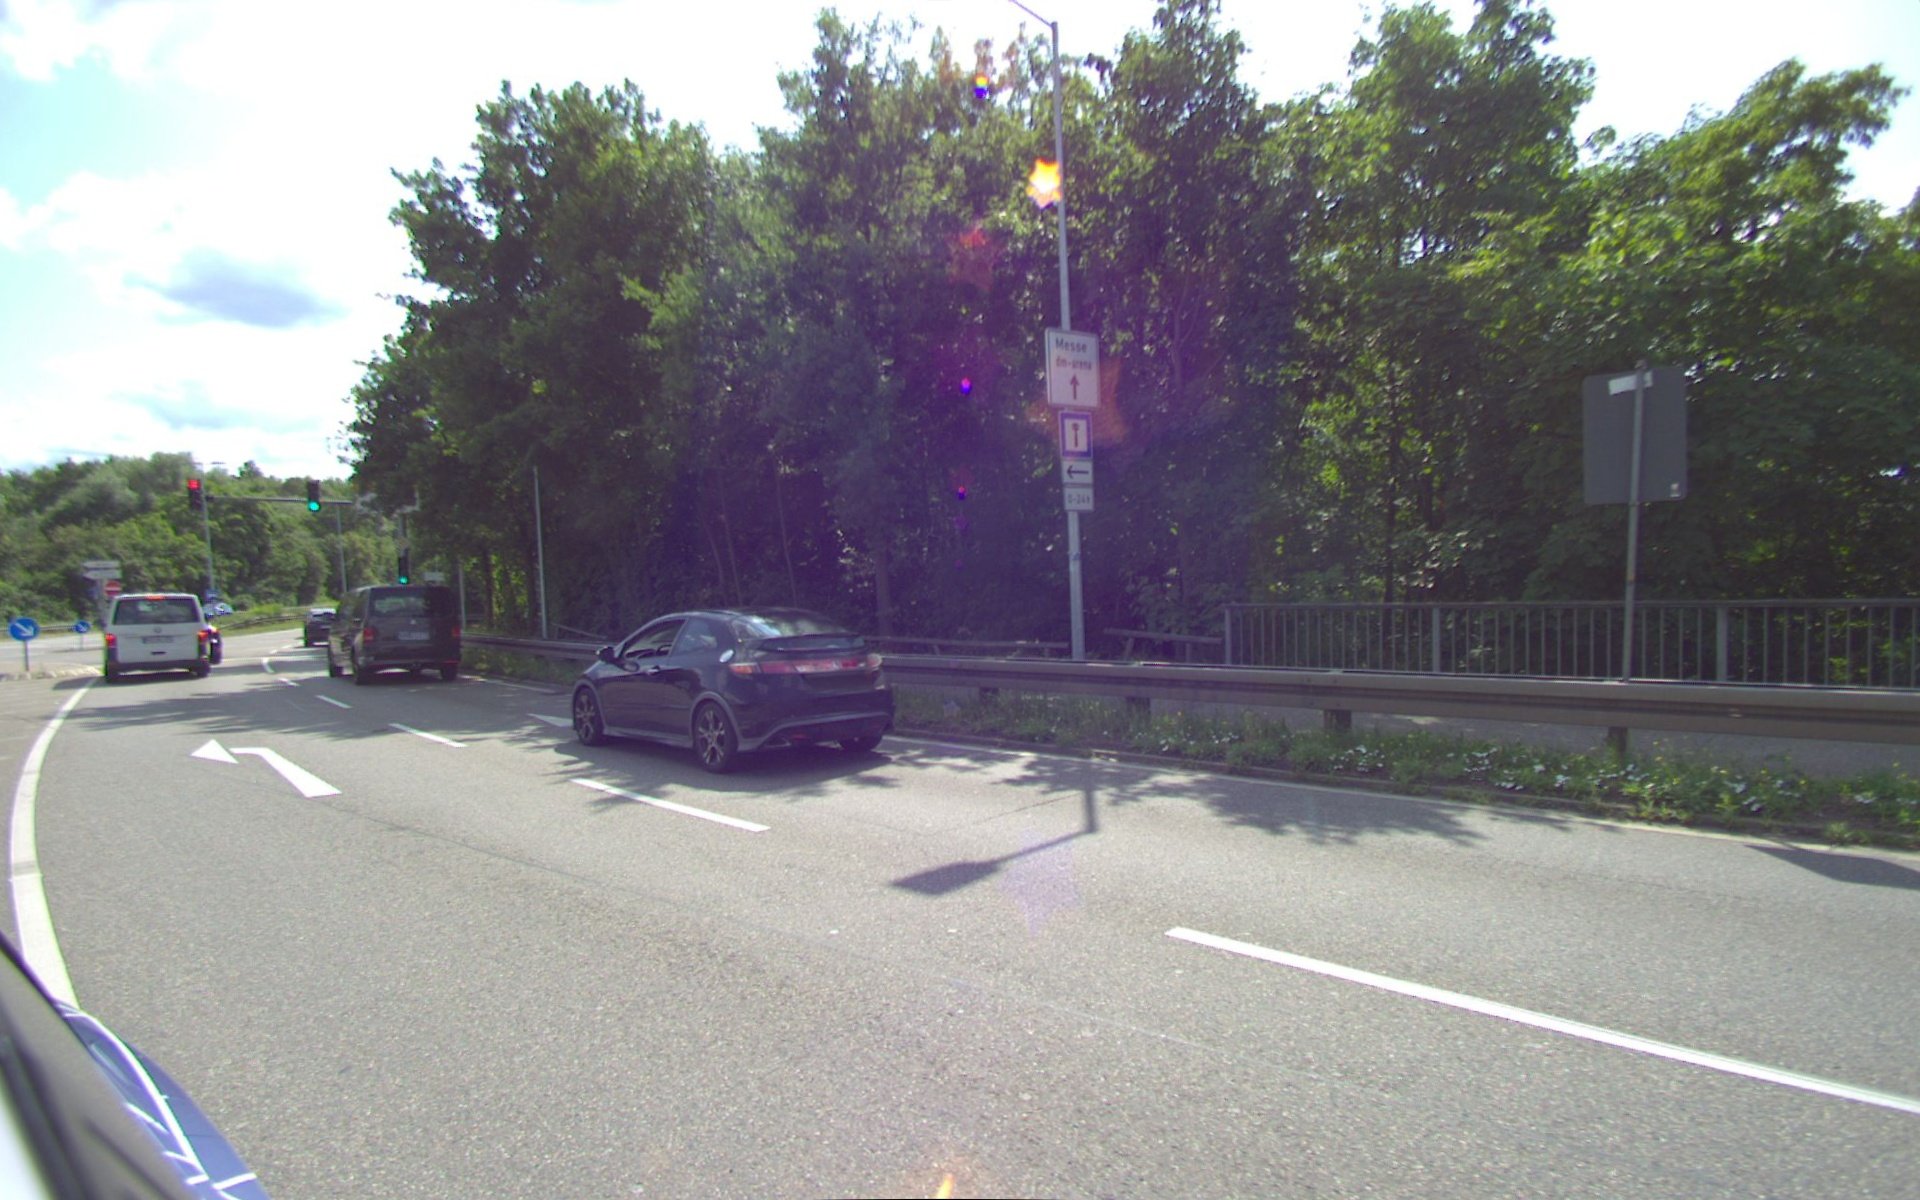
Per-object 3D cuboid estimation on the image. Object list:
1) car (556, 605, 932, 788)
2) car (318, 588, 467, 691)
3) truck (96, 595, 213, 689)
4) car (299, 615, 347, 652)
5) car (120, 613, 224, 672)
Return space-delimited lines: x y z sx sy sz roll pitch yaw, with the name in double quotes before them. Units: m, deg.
"car" -2.299 0.795 10.054 1.777 1.400 4.009 -1 0 -44
"car" -12.314 0.778 21.774 1.968 1.928 5.142 -1 0 -39
"truck" -19.138 0.914 23.951 1.936 1.927 5.378 -2 0 -40
"car" -26.785 1.371 42.619 1.612 1.420 4.351 -1 0 -31
"car" -22.993 1.206 29.496 3.820 1.569 1.680 -2 0 41
